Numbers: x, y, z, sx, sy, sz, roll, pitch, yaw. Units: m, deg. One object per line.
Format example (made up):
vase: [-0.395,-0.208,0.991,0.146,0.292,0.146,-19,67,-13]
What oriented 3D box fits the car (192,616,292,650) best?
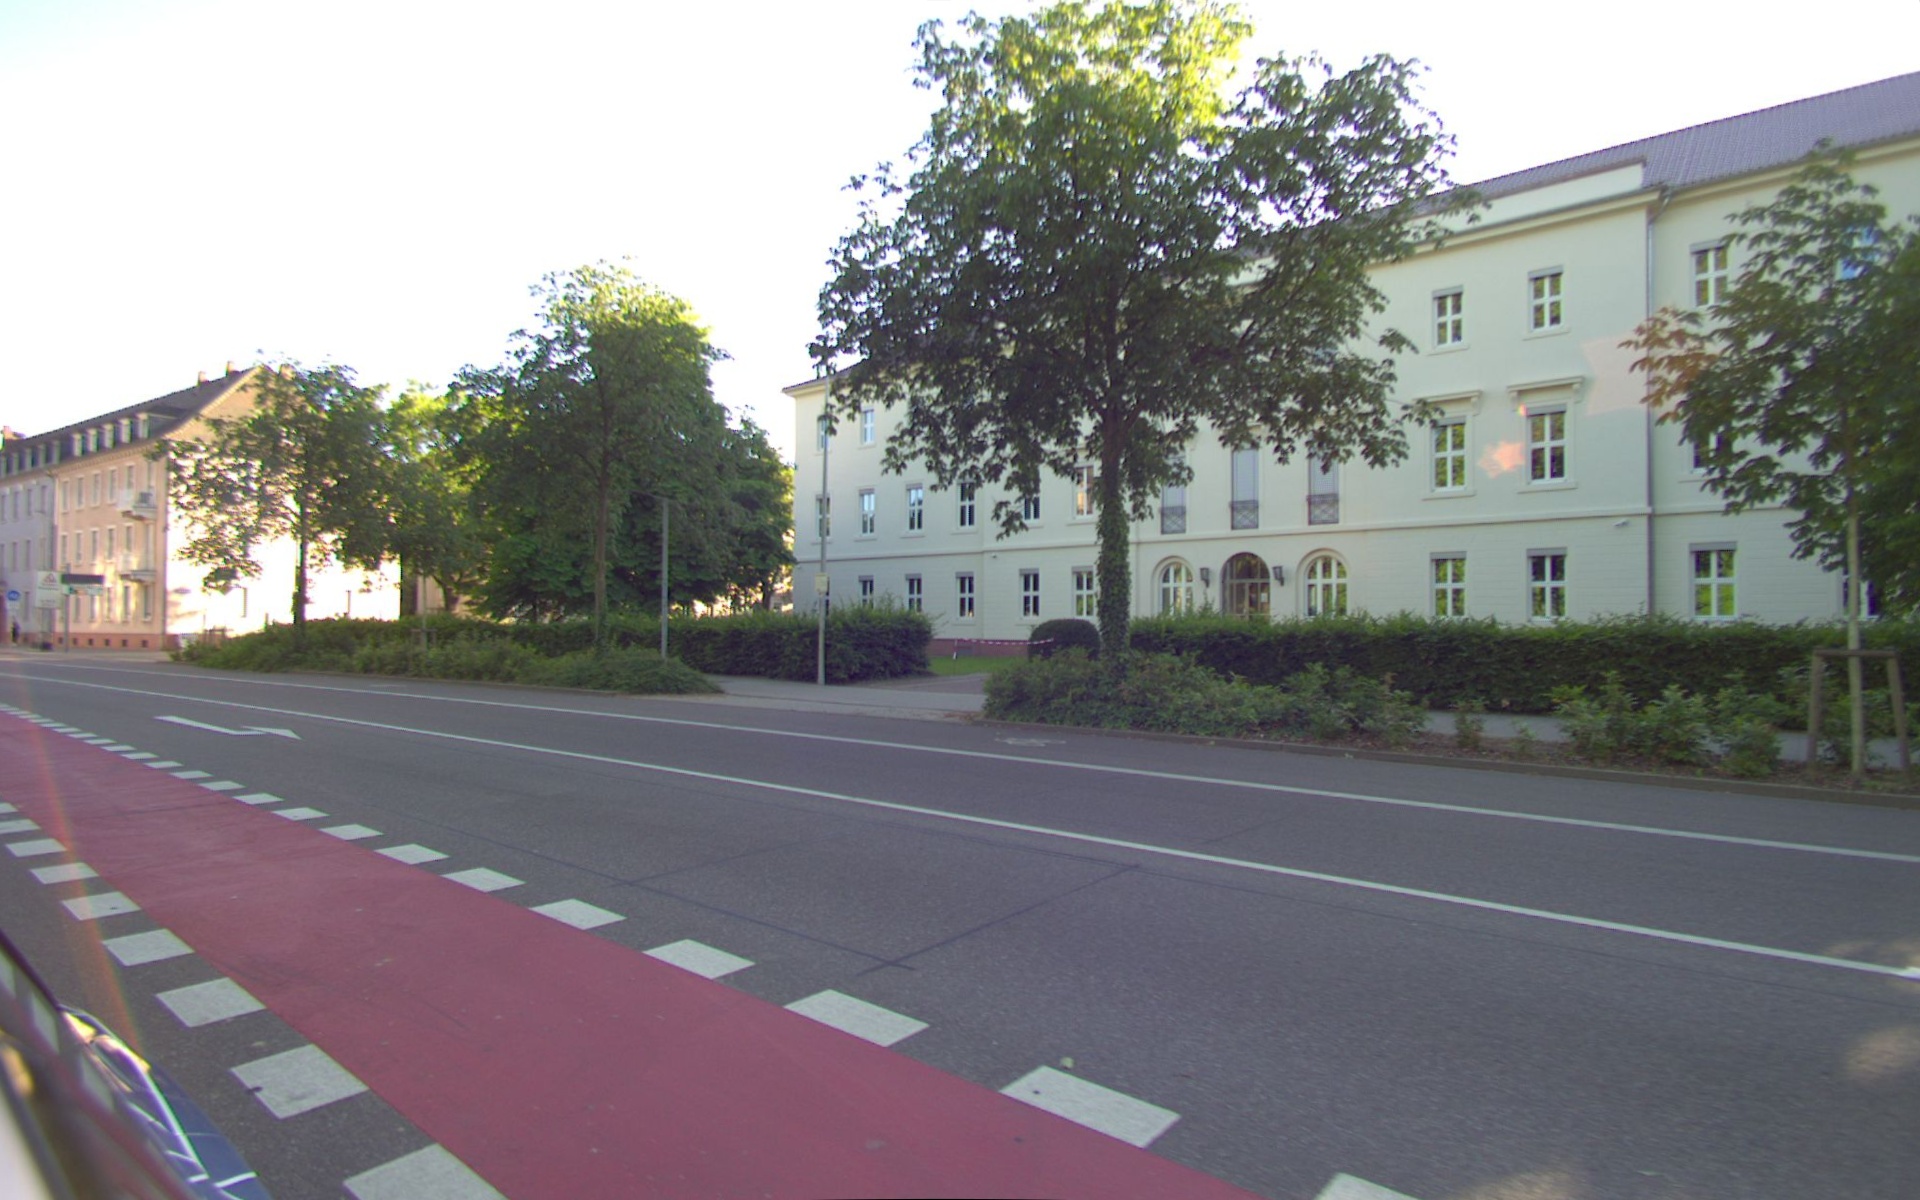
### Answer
car: [-38.486,1.733,54.324,1.993,1.674,3.958,0,-1,31]

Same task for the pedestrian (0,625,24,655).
pedestrian: [-62.559,2.634,66.789,1.060,1.919,0.938,-1,-1,33]
